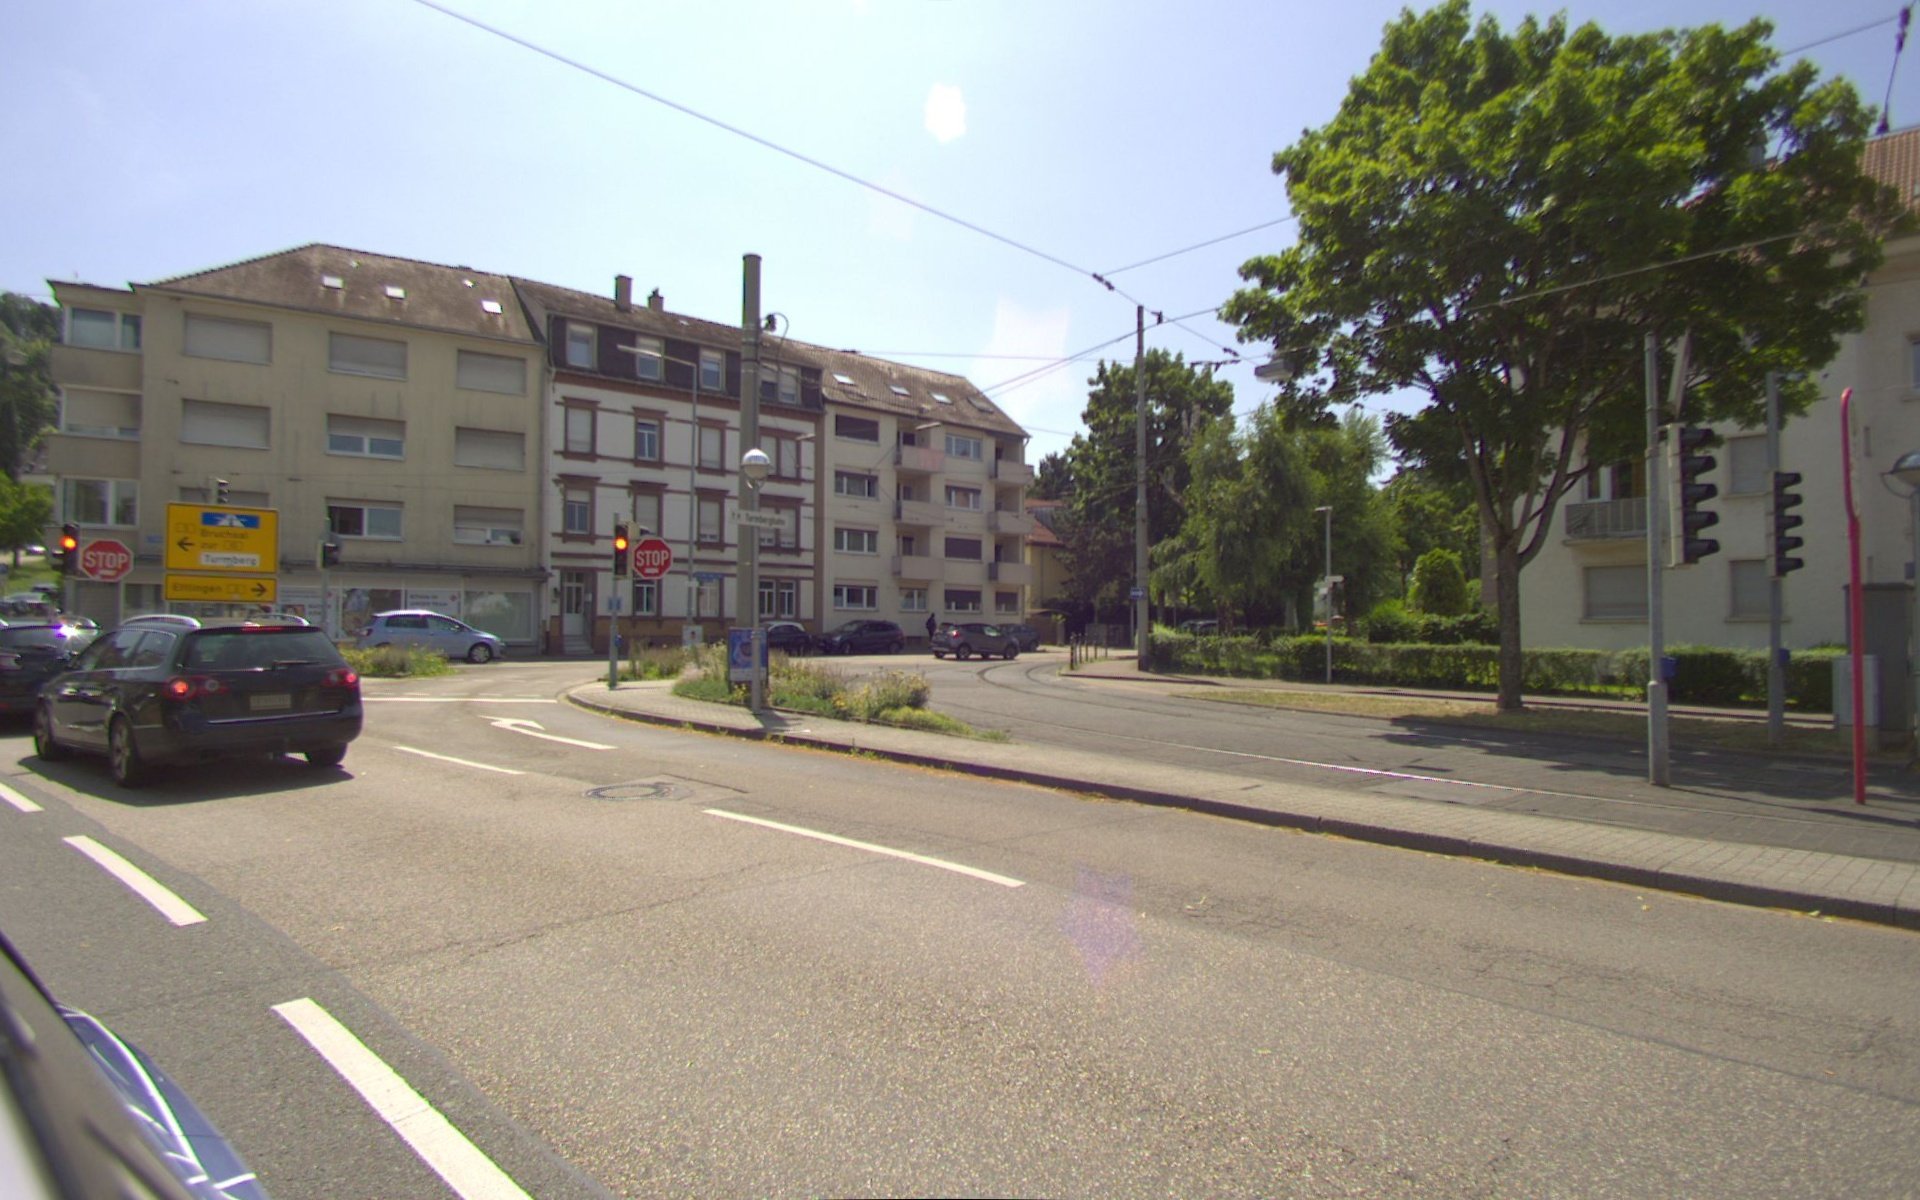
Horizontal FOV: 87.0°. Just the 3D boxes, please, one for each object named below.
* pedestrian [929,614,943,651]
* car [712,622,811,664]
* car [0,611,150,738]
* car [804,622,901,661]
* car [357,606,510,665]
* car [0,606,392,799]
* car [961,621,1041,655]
[{"bbox_3d":[-1.228,1.653,51.899,0.548,1.871,0.429,0,0,-38],"label":"pedestrian"},{"bbox_3d":[-8.564,1.823,43.716,3.700,1.597,2.003,-1,0,-41],"label":"car"},{"bbox_3d":[-13.107,0.933,13.994,4.116,1.502,1.821,0,0,34],"label":"car"},{"bbox_3d":[-4.925,1.866,46.566,4.007,1.597,2.003,-1,0,-41],"label":"car"},{"bbox_3d":[-15.985,1.022,30.767,3.934,1.630,1.764,-1,0,-35],"label":"car"},{"bbox_3d":[-7.774,0.832,10.121,4.802,1.502,1.819,0,-1,36],"label":"car"},{"bbox_3d":[2.160,1.936,52.380,4.007,1.597,1.817,-1,0,-41],"label":"car"}]
